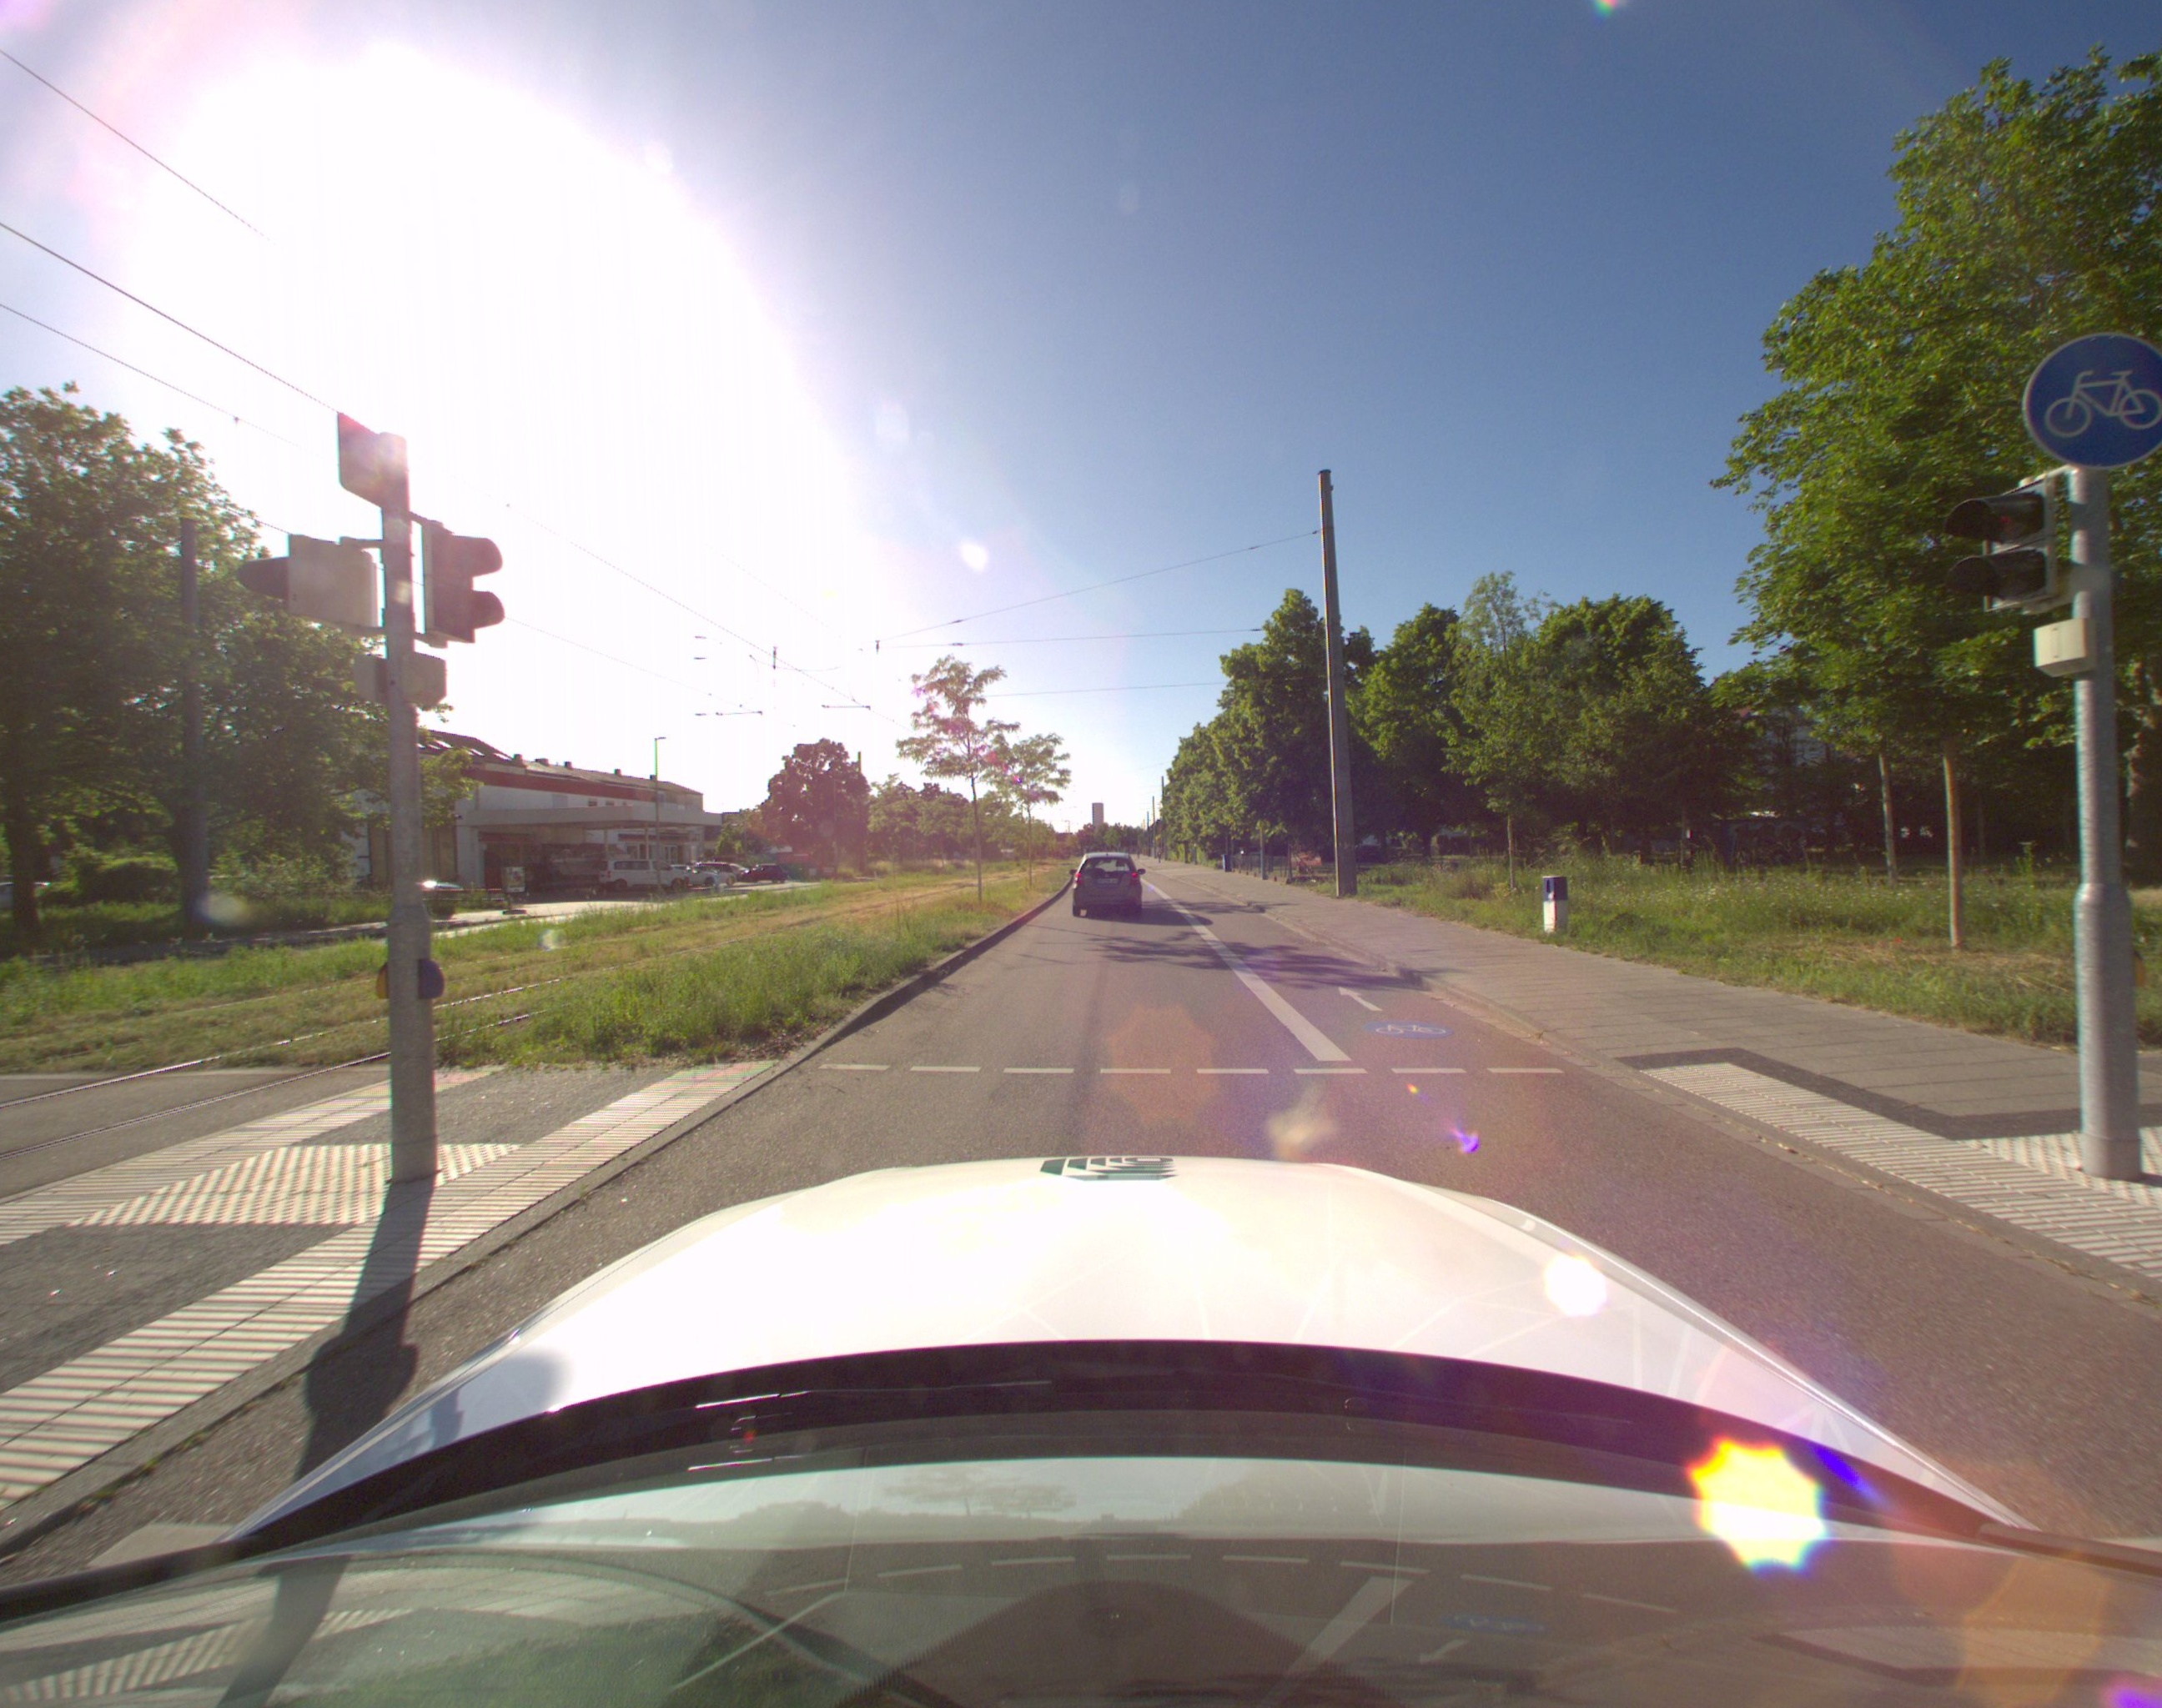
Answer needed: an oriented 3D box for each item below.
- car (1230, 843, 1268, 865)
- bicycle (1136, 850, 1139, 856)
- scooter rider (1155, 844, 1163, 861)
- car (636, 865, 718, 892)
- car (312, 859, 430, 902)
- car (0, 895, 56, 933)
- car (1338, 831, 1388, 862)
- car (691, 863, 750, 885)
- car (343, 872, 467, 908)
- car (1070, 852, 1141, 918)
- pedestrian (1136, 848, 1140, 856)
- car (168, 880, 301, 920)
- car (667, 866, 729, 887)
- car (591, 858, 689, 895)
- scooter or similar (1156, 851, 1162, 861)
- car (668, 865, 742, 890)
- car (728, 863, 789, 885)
[{"bbox_3d":[11.680,0.008,56.929,1.768,1.386,3.869,-3,0,0],"label":"car"},{"bbox_3d":[12.031,-0.167,172.569,0.510,1.241,3.091,-2,0,2],"label":"bicycle"},{"bbox_3d":[8.799,-0.178,91.768,0.713,1.901,0.935,-2,0,1],"label":"scooter rider"},{"bbox_3d":[-26.561,1.574,53.663,1.769,1.528,4.499,-2,0,41],"label":"car"},{"bbox_3d":[-39.175,1.454,45.012,4.704,2.091,2.022,-3,0,1],"label":"car"},{"bbox_3d":[-36.767,2.026,26.750,3.954,1.167,1.665,-2,0,-2],"label":"car"},{"bbox_3d":[19.516,-0.510,56.501,1.864,1.966,5.171,-1,0,3],"label":"car"},{"bbox_3d":[-30.268,1.688,68.420,4.057,1.568,1.792,-3,0,0],"label":"car"},{"bbox_3d":[-30.093,1.618,36.362,3.955,1.526,1.728,-1,-3,-2],"label":"car"},{"bbox_3d":[0.686,0.708,20.576,1.617,1.499,3.460,0,0,4],"label":"car"},{"bbox_3d":[12.042,-0.456,172.496,0.719,1.800,1.165,-2,0,2],"label":"pedestrian"},{"bbox_3d":[-38.882,2.078,37.550,1.569,1.544,4.096,-2,0,6],"label":"car"},{"bbox_3d":[-30.715,1.831,65.332,4.057,1.444,1.792,-3,0,0],"label":"car"},{"bbox_3d":[-26.682,1.318,49.377,1.837,1.974,4.817,-2,0,41],"label":"car"},{"bbox_3d":[8.786,0.211,91.787,0.537,1.118,1.417,-2,0,1],"label":"scooter or similar"},{"bbox_3d":[-26.679,1.657,57.929,1.769,1.471,4.500,-2,0,33],"label":"car"},{"bbox_3d":[-26.053,1.596,65.872,4.057,1.568,1.792,-3,0,0],"label":"car"}]
